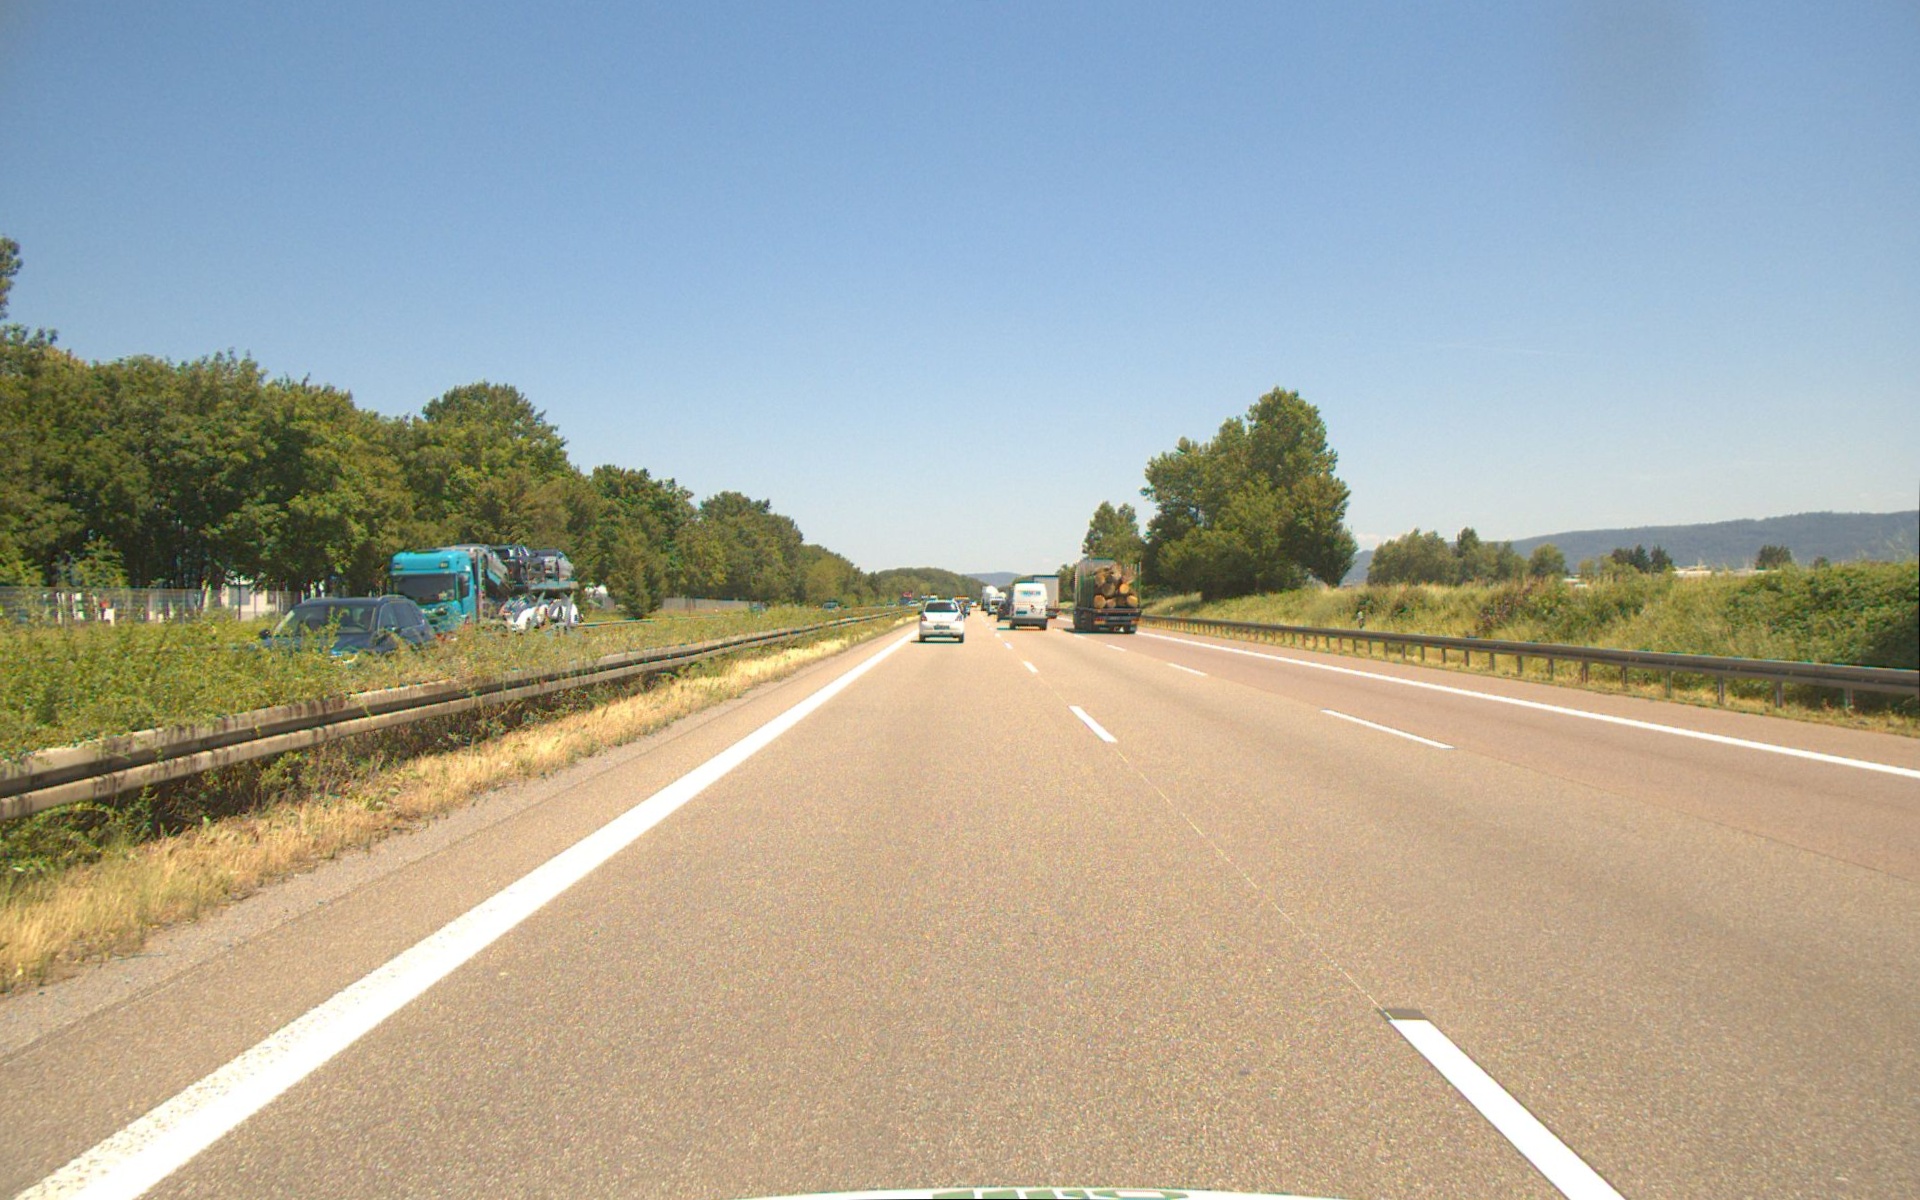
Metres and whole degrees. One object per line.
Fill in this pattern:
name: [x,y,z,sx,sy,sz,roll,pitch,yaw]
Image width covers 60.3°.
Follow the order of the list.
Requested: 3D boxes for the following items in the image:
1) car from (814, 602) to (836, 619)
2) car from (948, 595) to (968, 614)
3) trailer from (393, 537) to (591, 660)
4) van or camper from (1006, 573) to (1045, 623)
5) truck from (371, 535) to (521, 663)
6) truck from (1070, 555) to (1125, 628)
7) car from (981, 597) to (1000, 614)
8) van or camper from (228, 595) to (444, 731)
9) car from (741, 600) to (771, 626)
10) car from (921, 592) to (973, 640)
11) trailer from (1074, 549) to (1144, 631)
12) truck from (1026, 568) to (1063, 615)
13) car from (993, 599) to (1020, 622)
car: [-13.153,1.015,161.173,1.756,1.606,4.211,-1,0,-1]
car: [-0.198,0.437,153.192,1.819,1.681,3.999,1,0,-1]
trailer: [-17.983,-0.045,65.349,2.820,4.047,17.472,-3,0,-1]
van or camper: [3.620,-0.102,92.297,2.016,2.668,5.985,0,0,0]
truck: [-17.874,-0.022,58.085,2.820,4.044,7.371,-3,0,-1]
truck: [7.945,-0.503,96.170,2.615,4.064,6.636,1,0,0]
car: [3.194,0.564,174.360,1.819,1.681,3.999,1,0,-1]
van or camper: [-9.062,0.859,24.370,1.676,1.800,3.999,1,0,-1]
car: [-16.854,1.037,136.692,1.953,2.049,4.272,1,0,0]
car: [-0.497,0.583,61.681,1.819,1.681,3.999,1,0,-1]
trailer: [7.888,-0.504,88.941,2.598,4.028,13.636,1,0,0]
truck: [8.265,-0.787,163.569,3.015,4.282,16.844,1,0,1]
car: [3.538,0.792,125.642,1.819,1.681,3.999,1,0,-1]
